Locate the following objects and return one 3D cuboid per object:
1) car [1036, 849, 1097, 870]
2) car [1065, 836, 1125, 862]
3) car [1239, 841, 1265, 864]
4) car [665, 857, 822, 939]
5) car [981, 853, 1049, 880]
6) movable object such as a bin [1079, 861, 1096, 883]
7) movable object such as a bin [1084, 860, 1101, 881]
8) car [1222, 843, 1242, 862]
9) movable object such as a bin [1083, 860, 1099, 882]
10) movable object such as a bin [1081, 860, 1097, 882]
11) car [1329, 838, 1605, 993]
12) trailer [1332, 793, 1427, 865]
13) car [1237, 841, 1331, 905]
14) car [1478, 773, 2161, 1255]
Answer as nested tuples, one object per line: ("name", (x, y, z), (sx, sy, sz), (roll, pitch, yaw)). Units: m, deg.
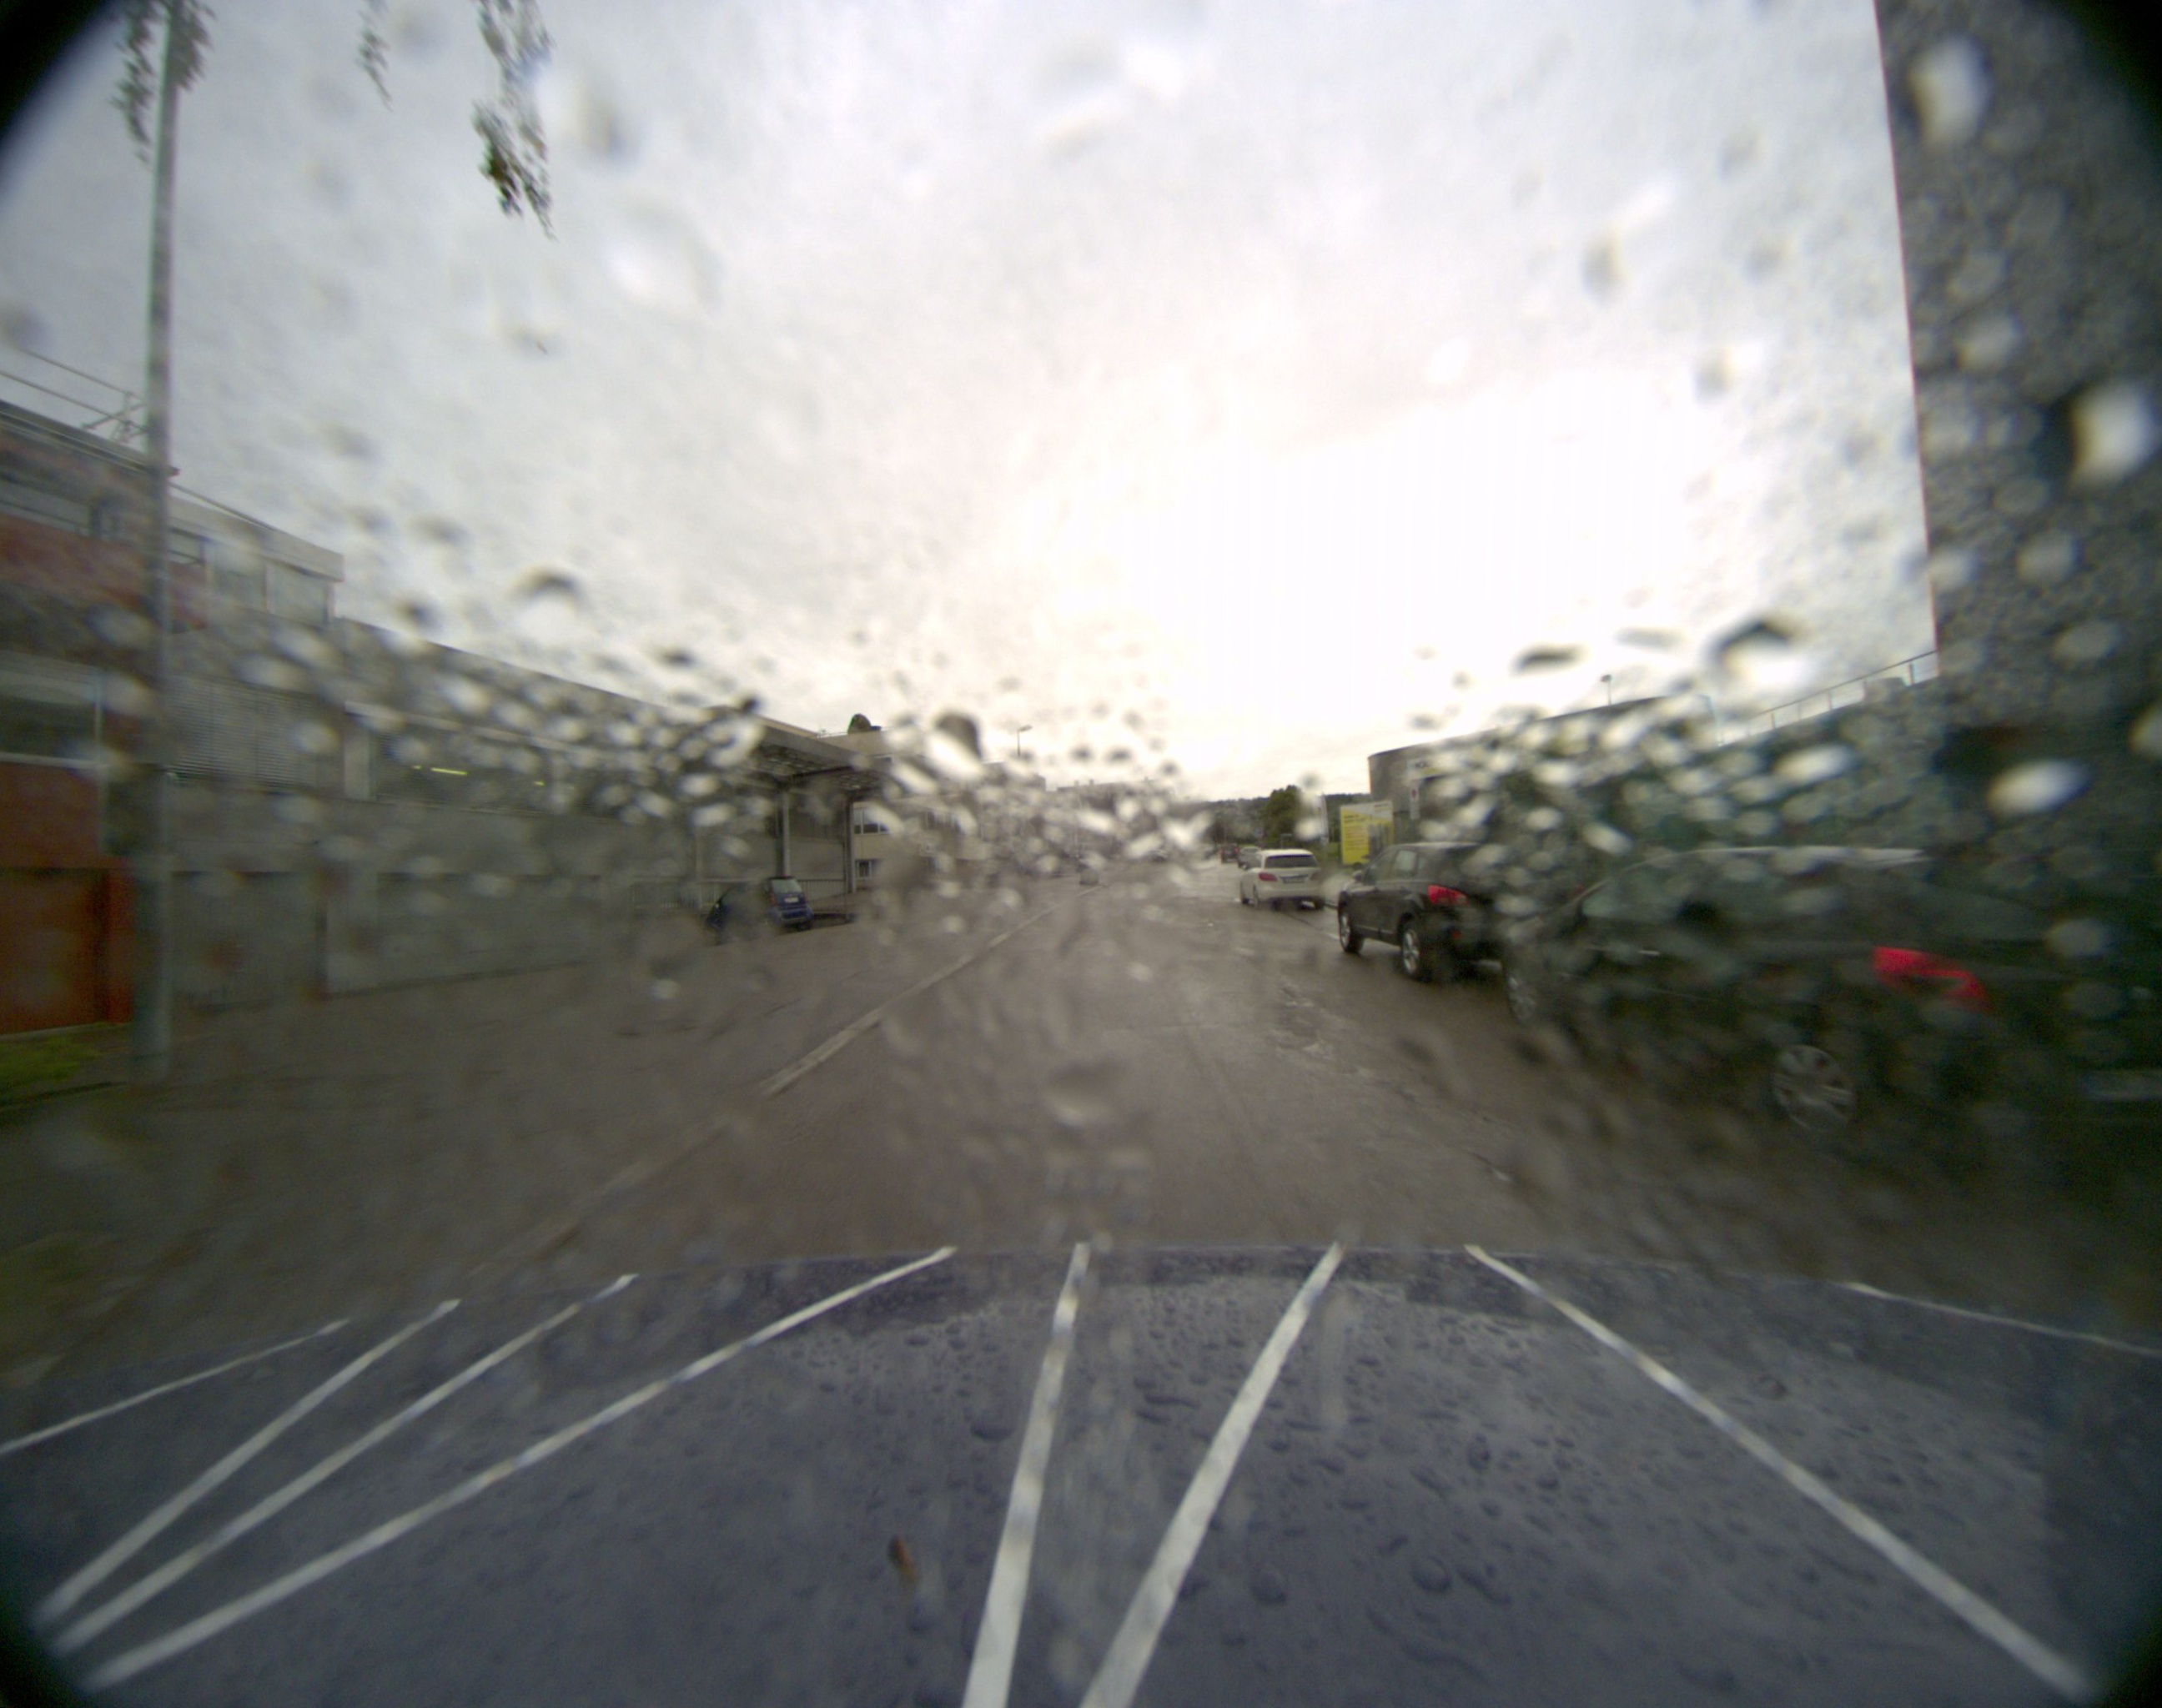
("car", (-1.173, 0.454, 62.907), (4.617, 1.488, 1.943), (-2, 1, 15))
("car", (1.350, -0.491, 72.122), (5.146, 2.281, 2.205), (-2, 1, 17))
("car", (15.320, -0.129, 68.148), (1.997, 1.902, 4.002), (-1, 0, 9))
("car", (-8.792, 1.137, 19.826), (3.440, 1.490, 1.620), (-11, -2, 21))
("car", (-3.997, 0.760, 46.346), (3.745, 1.531, 1.632), (-1, 1, 13))
("movable object such as a bin", (0.328, 0.890, 38.446), (0.735, 1.084, 0.594), (-2, 1, 9))
("movable object such as a bin", (0.612, 0.870, 40.284), (0.735, 1.084, 0.594), (-2, 1, 9))
("car", (16.763, -0.142, 84.384), (2.066, 2.002, 4.515), (-1, 0, 10))
("movable object such as a bin", (0.521, 0.877, 39.672), (0.735, 1.084, 0.594), (-2, 1, 9))
("movable object such as a bin", (0.408, 0.893, 39.059), (0.735, 1.084, 0.594), (-2, 1, 9))
("car", (4.581, 0.618, 9.754), (1.636, 1.549, 4.085), (-1, 0, 3))
("trailer", (17.928, -1.454, 45.798), (2.393, 4.065, 4.687), (-3, 1, -37))
("car", (5.522, 0.464, 21.205), (1.739, 1.527, 4.251), (-2, 0, 4))
("car", (4.377, 0.567, 4.792), (1.743, 1.787, 3.959), (-2, 1, 2))
